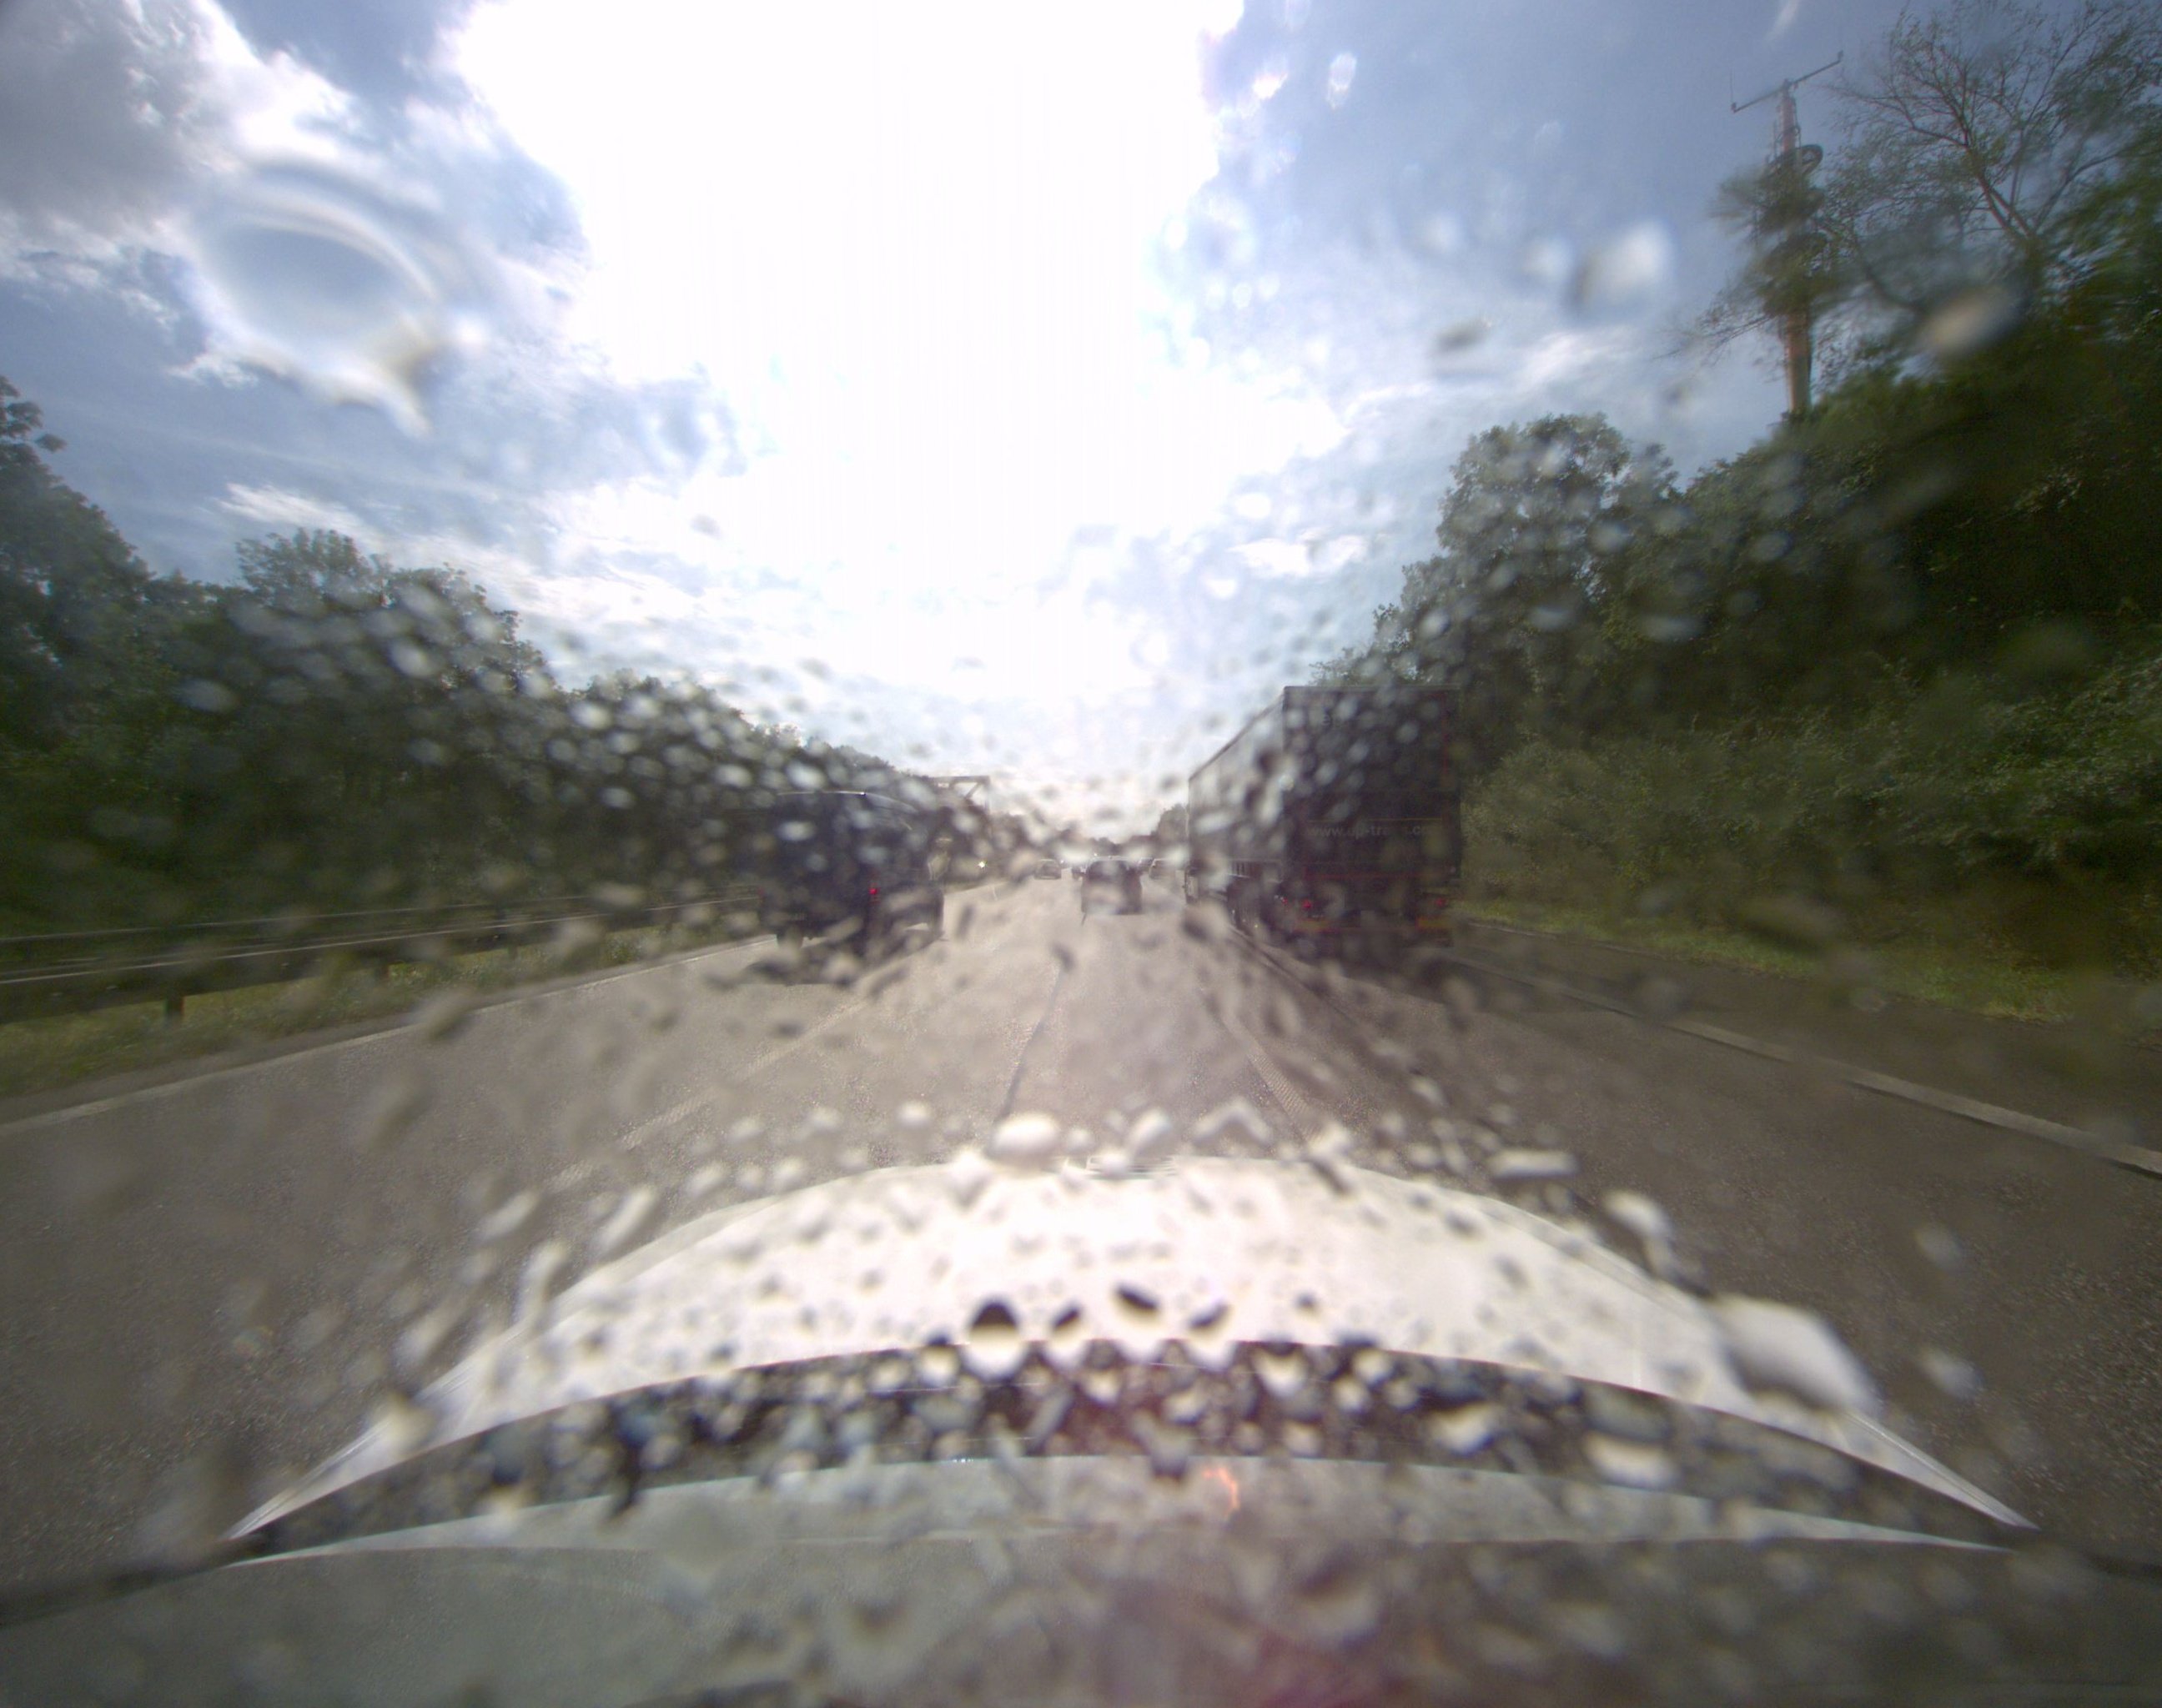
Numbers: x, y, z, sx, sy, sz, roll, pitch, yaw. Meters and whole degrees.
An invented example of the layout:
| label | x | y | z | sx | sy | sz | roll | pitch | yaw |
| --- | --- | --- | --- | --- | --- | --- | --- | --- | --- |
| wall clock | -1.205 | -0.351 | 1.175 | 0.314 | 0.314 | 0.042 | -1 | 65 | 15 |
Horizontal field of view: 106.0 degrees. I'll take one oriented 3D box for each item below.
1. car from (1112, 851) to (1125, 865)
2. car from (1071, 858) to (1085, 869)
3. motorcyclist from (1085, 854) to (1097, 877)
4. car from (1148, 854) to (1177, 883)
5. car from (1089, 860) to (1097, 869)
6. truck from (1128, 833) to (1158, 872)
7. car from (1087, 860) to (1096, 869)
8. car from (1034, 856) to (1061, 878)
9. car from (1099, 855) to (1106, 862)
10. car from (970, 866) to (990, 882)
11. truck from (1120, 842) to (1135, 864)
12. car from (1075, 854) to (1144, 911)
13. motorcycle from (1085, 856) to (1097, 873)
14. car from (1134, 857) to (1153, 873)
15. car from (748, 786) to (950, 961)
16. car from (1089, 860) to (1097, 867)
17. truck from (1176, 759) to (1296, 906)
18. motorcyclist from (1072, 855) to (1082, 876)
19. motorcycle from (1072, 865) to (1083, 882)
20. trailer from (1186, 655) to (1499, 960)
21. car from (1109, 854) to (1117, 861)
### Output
| label | x | y | z | sx | sy | sz | roll | pitch | yaw |
| --- | --- | --- | --- | --- | --- | --- | --- | --- | --- |
| car | 5.201 | 0.548 | 112.838 | 1.669 | 1.936 | 3.774 | -1 | 0 | 1 |
| car | -0.466 | 1.366 | 122.033 | 1.886 | 1.628 | 4.196 | -1 | 0 | 1 |
| motorcyclist | 0.782 | 0.865 | 63.622 | 0.819 | 1.761 | 1.389 | 0 | -1 | -3 |
| car | 5.920 | 1.050 | 59.280 | 1.842 | 2.014 | 4.089 | 0 | -1 | 2 |
| car | 2.965 | 2.515 | 196.987 | 1.986 | 2.014 | 4.001 | 0 | -1 | 1 |
| truck | 7.458 | -0.134 | 99.546 | 3.190 | 4.404 | 9.436 | -1 | -1 | 2 |
| car | 1.977 | 1.879 | 151.348 | 1.669 | 1.597 | 3.437 | -1 | 0 | 1 |
| car | -2.523 | 0.984 | 62.578 | 1.752 | 1.595 | 4.331 | -1 | 0 | 1 |
| car | 6.249 | 1.326 | 240.198 | 1.986 | 2.014 | 4.001 | 0 | -1 | 1 |
| car | -13.761 | 2.720 | 111.488 | 1.986 | 2.014 | 4.734 | 0 | -1 | 1 |
| truck | 10.273 | -0.069 | 179.760 | 2.871 | 4.688 | 12.662 | 0 | -1 | 2 |
| car | 0.836 | 0.814 | 24.929 | 1.908 | 1.565 | 4.314 | -1 | 0 | 1 |
| motorcycle | 0.783 | 0.824 | 63.647 | 0.818 | 1.263 | 2.115 | 0 | 0 | -3 |
| car | 6.107 | 1.091 | 79.662 | 1.669 | 1.490 | 3.437 | -1 | 0 | 1 |
| car | -4.001 | 0.316 | 15.315 | 2.008 | 2.648 | 5.778 | -1 | 0 | 1 |
| car | 2.682 | 2.137 | 177.135 | 1.669 | 1.490 | 3.437 | -1 | 0 | 1 |
| truck | 4.931 | -0.600 | 27.130 | 3.040 | 4.325 | 5.888 | 0 | -1 | 2 |
| motorcyclist | -0.271 | 0.789 | 55.105 | 0.669 | 1.442 | 1.019 | 0 | -1 | -2 |
| motorcycle | -0.263 | 1.327 | 55.156 | 0.674 | 1.087 | 1.980 | 0 | 0 | -2 |
| trailer | 4.624 | -0.617 | 18.667 | 3.076 | 4.312 | 14.111 | -1 | 0 | 2 |
| car | 6.947 | 0.754 | 175.064 | 1.626 | 1.490 | 3.437 | -1 | 0 | 1 |
